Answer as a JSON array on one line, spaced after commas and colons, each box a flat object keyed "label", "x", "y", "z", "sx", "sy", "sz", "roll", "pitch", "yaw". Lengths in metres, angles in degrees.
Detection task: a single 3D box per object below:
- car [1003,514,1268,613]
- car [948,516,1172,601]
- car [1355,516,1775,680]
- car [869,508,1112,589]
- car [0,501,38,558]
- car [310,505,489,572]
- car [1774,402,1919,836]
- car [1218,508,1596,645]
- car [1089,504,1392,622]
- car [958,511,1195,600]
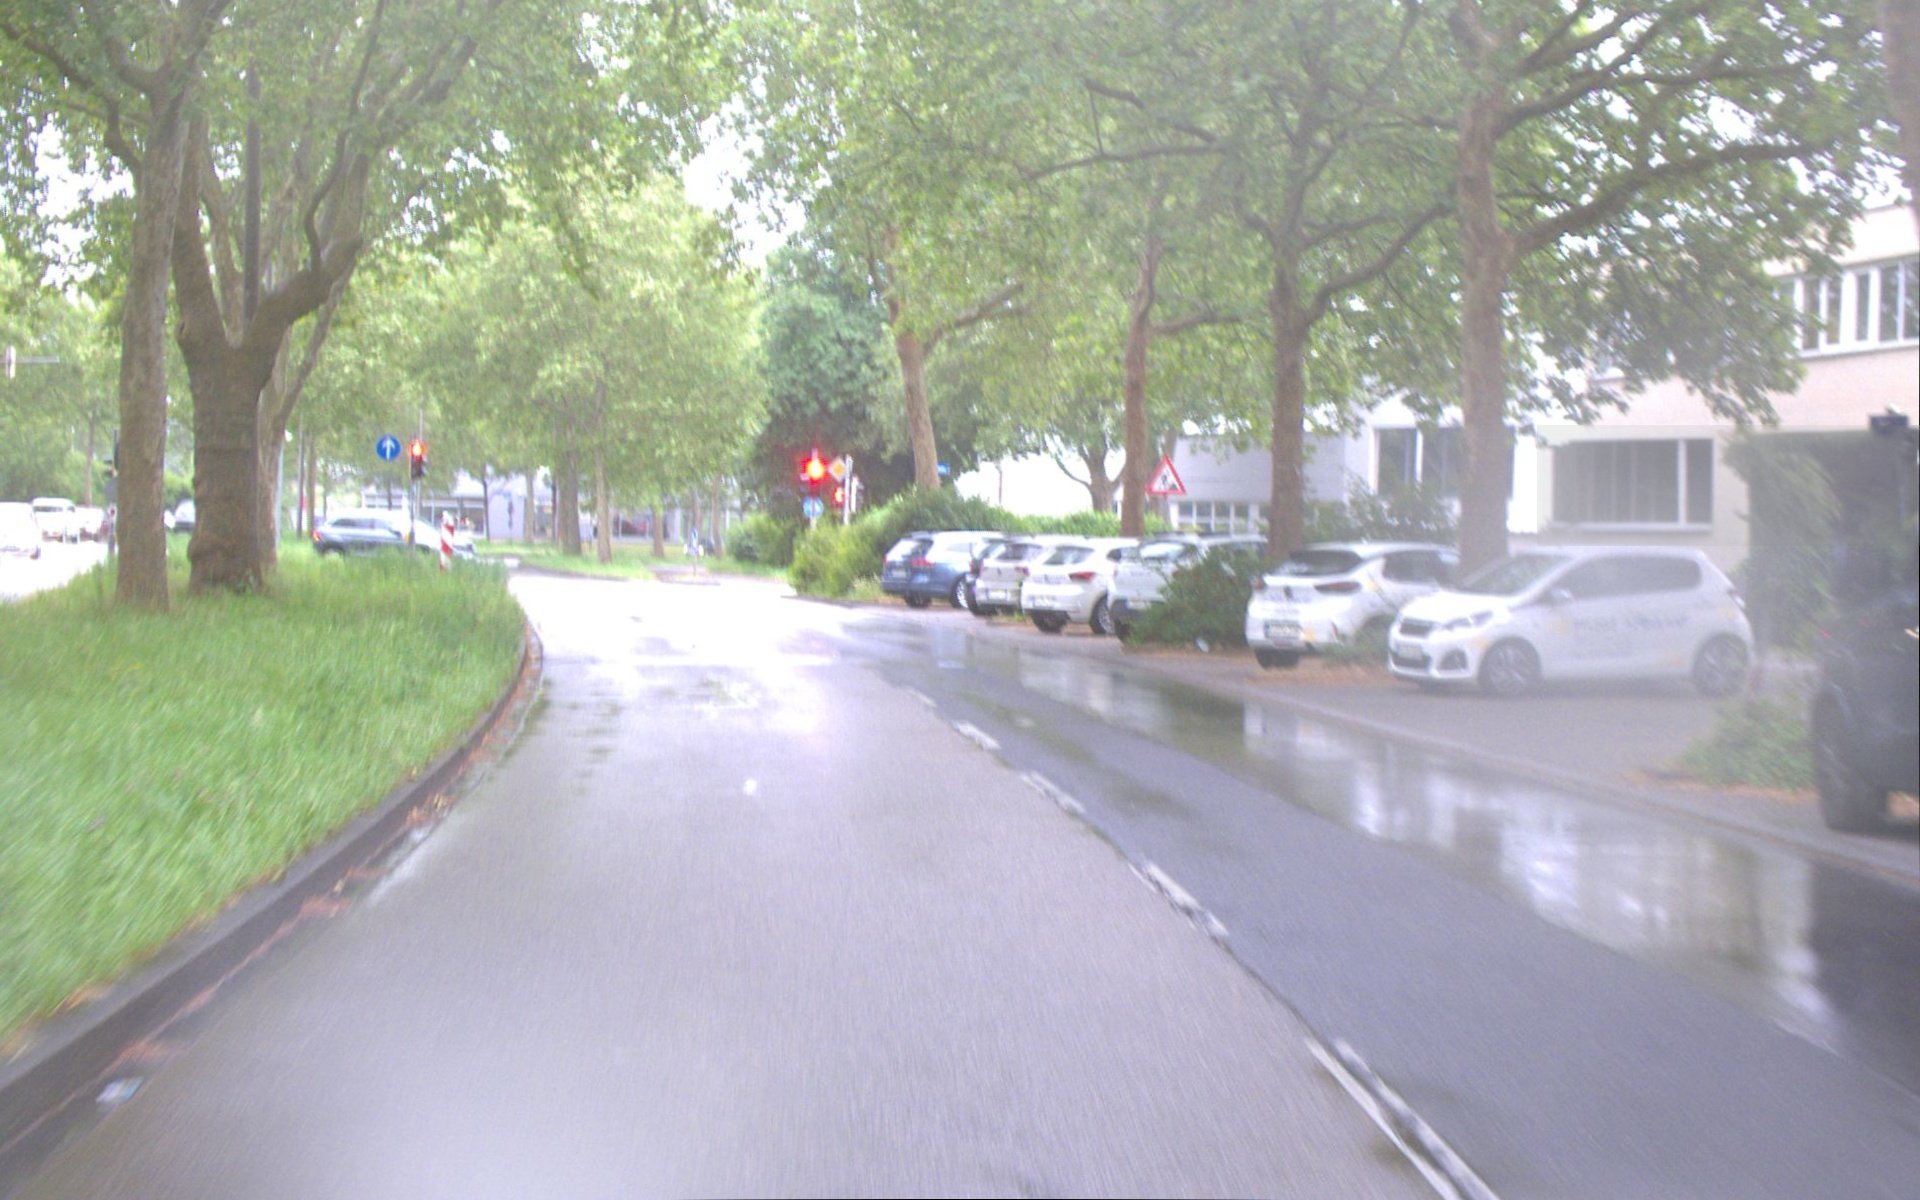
[{"label": "car", "x": 2.688, "y": -0.548, "z": 52.432, "sx": 3.681, "sy": 1.411, "sz": 1.749, "roll": 1, "pitch": 1, "yaw": -33}, {"label": "car", "x": 1.797, "y": -0.737, "z": 61.218, "sx": 3.681, "sy": 1.411, "sz": 1.749, "roll": 1, "pitch": 1, "yaw": -37}, {"label": "car", "x": 5.926, "y": -0.030, "z": 33.740, "sx": 3.634, "sy": 1.499, "sz": 1.750, "roll": 0, "pitch": 3, "yaw": -21}, {"label": "car", "x": 0.613, "y": -0.995, "z": 66.915, "sx": 4.481, "sy": 1.454, "sz": 1.749, "roll": 1, "pitch": 1, "yaw": -33}, {"label": "car", "x": -27.828, "y": -2.074, "z": 100.056, "sx": 1.743, "sy": 1.586, "sz": 4.332, "roll": 1, "pitch": 1, "yaw": -13}, {"label": "car", "x": -14.689, "y": -1.608, "z": 90.153, "sx": 4.296, "sy": 1.644, "sz": 1.747, "roll": 2, "pitch": 1, "yaw": 19}, {"label": "car", "x": 5.553, "y": 0.116, "z": 15.731, "sx": 2.121, "sy": 2.021, "sz": 5.528, "roll": 1, "pitch": 1, "yaw": -2}, {"label": "car", "x": 4.962, "y": -0.251, "z": 37.959, "sx": 4.026, "sy": 1.423, "sz": 1.749, "roll": 1, "pitch": 1, "yaw": -37}, {"label": "car", "x": 3.889, "y": -0.499, "z": 47.336, "sx": 4.026, "sy": 1.534, "sz": 1.749, "roll": 0, "pitch": 1, "yaw": -39}, {"label": "car", "x": 1.977, "y": -0.745, "z": 57.936, "sx": 3.681, "sy": 1.411, "sz": 1.775, "roll": 1, "pitch": 1, "yaw": -37}]
